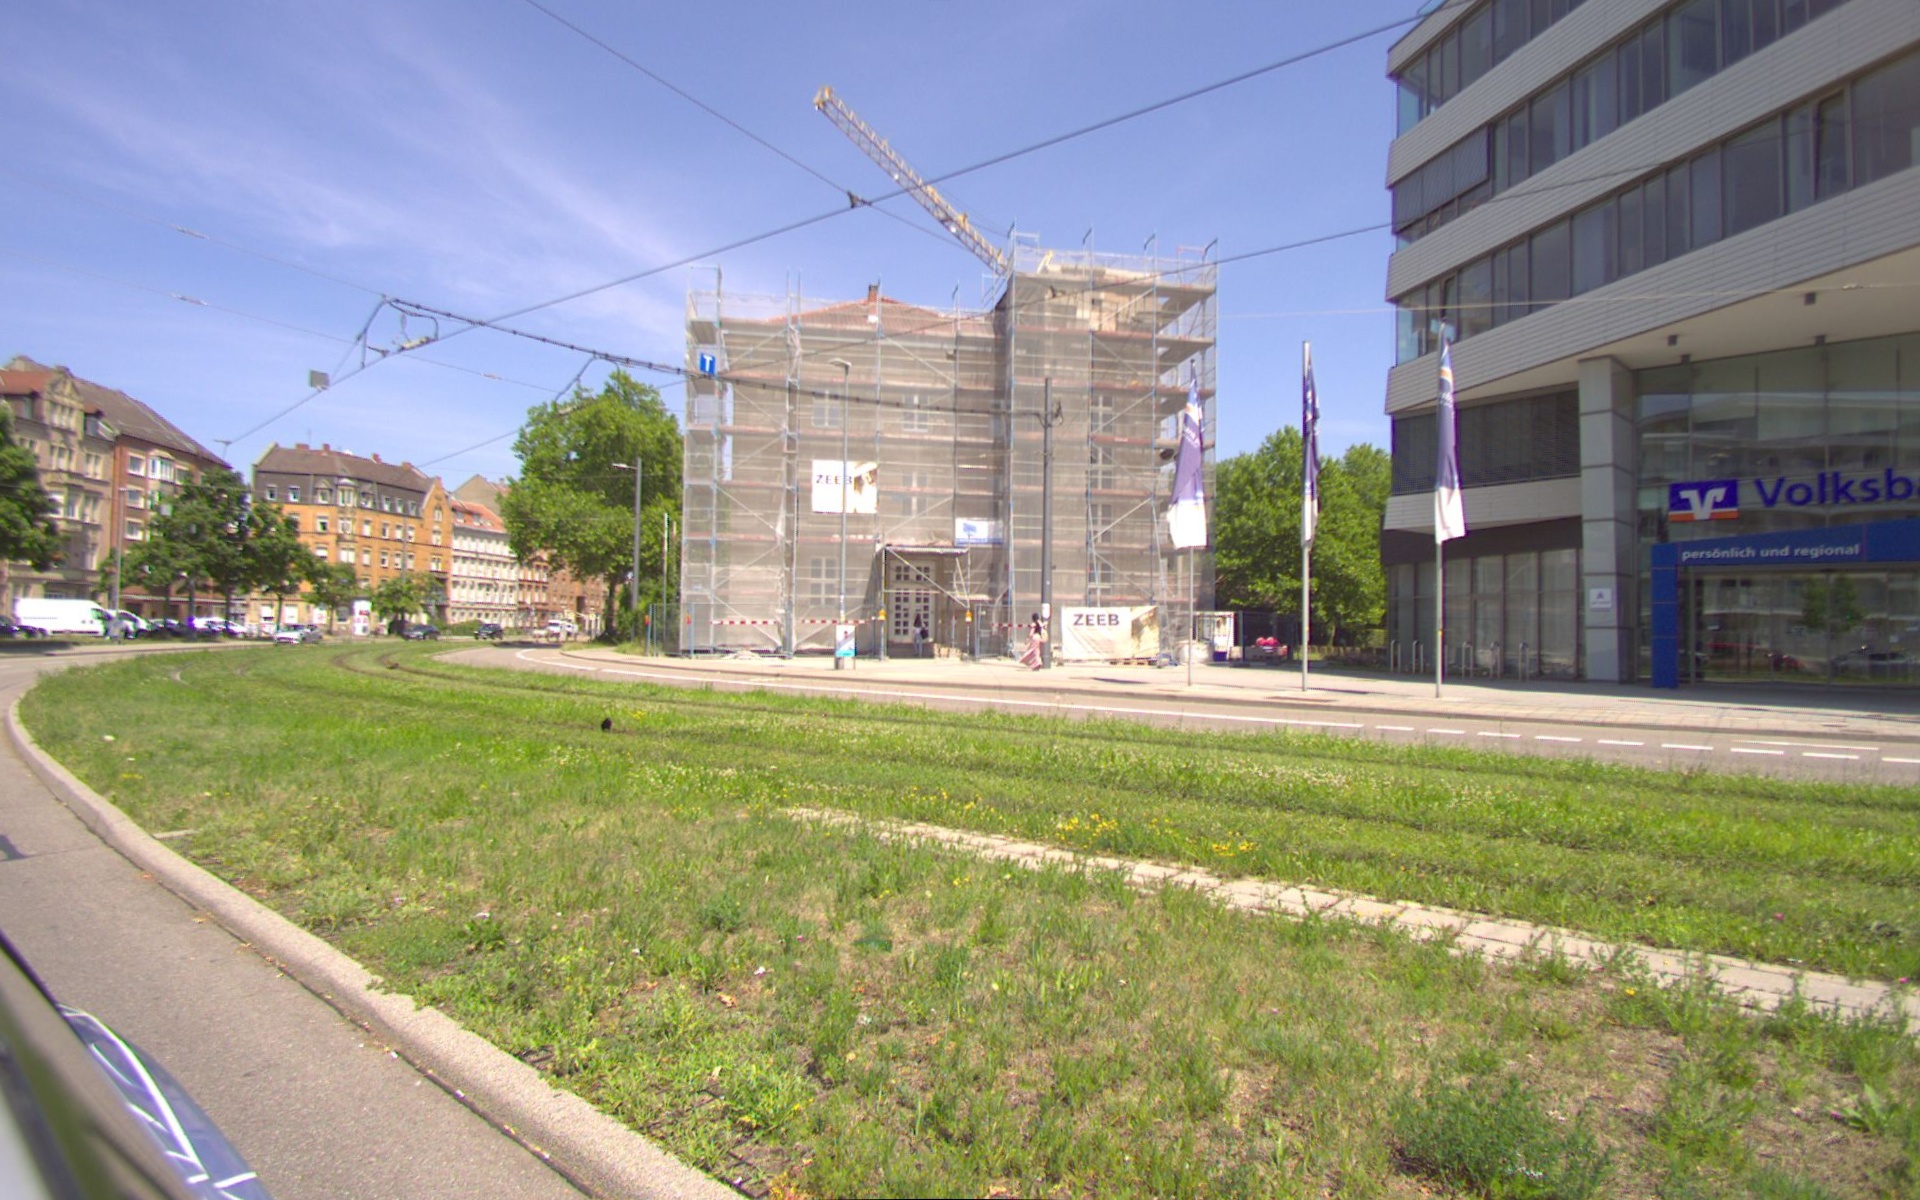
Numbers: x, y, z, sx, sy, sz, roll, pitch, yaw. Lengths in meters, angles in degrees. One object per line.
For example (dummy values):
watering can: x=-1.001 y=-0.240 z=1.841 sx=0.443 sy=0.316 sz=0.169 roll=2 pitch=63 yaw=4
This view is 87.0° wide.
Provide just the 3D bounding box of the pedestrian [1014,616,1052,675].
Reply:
pedestrian: x=2.090 y=1.294 z=28.839 sx=0.908 sy=1.643 sz=0.745 roll=-1 pitch=-2 yaw=18

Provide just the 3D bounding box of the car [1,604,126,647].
car: x=-54.442 y=1.569 z=61.525 sx=2.238 sy=2.479 sz=5.473 roll=-2 pitch=-3 yaw=43

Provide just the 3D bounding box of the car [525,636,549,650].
car: x=-52.589 y=5.340 z=125.854 sx=1.773 sy=1.586 sz=4.006 roll=0 pitch=-2 yaw=-7

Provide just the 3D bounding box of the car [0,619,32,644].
car: x=-52.431 y=1.688 z=53.855 sx=1.972 sy=1.349 sz=4.369 roll=-2 pitch=-3 yaw=43

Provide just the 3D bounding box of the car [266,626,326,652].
car: x=-42.867 y=2.524 z=65.395 sx=1.772 sy=1.586 sz=4.008 roll=0 pitch=-2 yaw=-9

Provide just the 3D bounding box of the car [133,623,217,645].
car: x=-55.669 y=2.389 z=71.884 sx=4.556 sy=1.508 sz=1.970 roll=1 pitch=-2 yaw=-35

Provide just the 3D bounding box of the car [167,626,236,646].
car: x=-56.143 y=2.630 z=75.009 sx=3.932 sy=1.410 sz=1.829 roll=0 pitch=-2 yaw=-32

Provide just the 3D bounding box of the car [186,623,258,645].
car: x=-56.842 y=2.605 z=78.036 sx=4.338 sy=1.644 sz=2.006 roll=1 pitch=-2 yaw=-32

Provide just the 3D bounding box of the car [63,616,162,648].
car: x=-54.597 y=2.043 z=65.303 sx=4.771 sy=1.988 sz=2.080 roll=1 pitch=-2 yaw=-40

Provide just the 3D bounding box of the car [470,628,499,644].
car: x=-48.392 y=3.659 z=103.024 sx=1.772 sy=1.586 sz=4.009 roll=0 pitch=-2 yaw=-12

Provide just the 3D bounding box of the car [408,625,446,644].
car: x=-45.861 y=2.951 z=87.140 sx=1.772 sy=1.586 sz=4.008 roll=0 pitch=-2 yaw=-9

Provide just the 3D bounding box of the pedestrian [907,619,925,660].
pedestrian: x=-1.645 y=1.469 z=37.863 sx=0.573 sy=1.530 sz=0.589 roll=-1 pitch=-2 yaw=3
